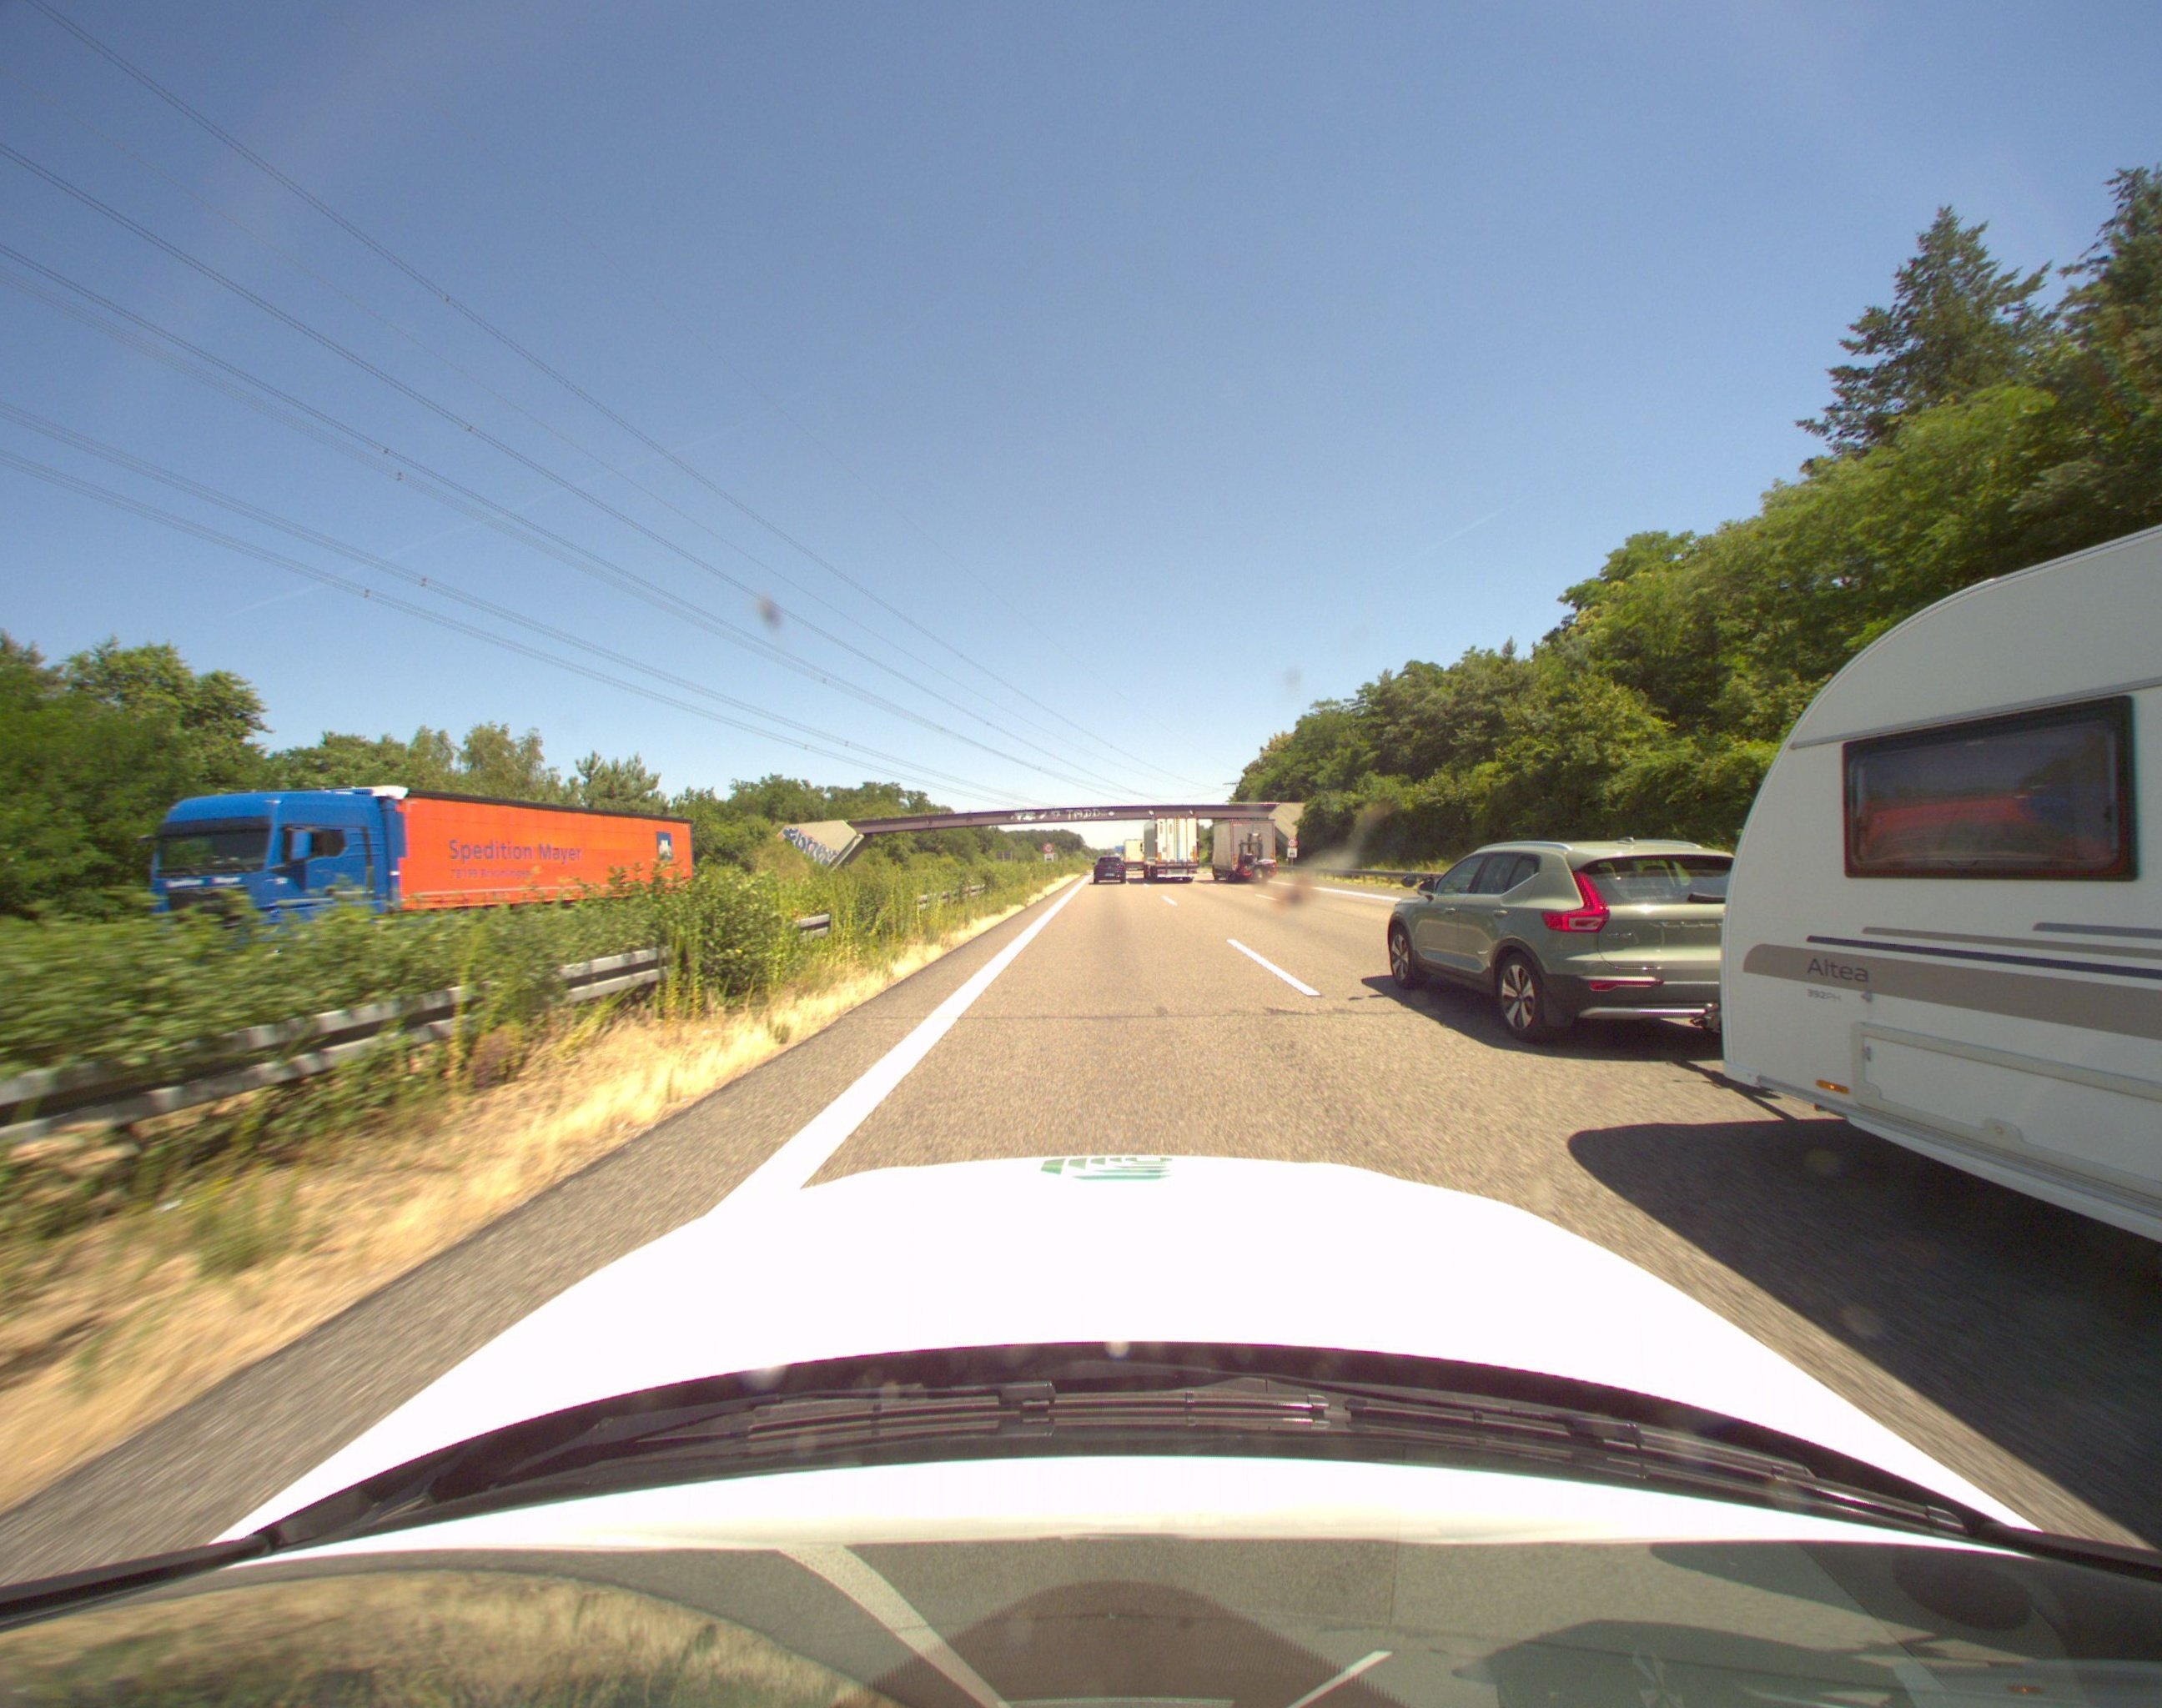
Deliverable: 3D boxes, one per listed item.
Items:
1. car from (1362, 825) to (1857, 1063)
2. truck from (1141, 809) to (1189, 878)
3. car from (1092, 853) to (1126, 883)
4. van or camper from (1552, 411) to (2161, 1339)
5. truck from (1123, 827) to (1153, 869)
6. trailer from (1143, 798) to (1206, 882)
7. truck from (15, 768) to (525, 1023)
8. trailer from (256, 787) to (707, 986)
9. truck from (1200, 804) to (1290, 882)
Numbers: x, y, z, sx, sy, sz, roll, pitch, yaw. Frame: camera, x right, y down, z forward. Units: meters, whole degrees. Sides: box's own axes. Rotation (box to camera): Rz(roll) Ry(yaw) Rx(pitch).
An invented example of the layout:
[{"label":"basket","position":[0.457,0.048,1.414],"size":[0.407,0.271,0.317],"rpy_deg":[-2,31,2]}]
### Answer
[{"label":"car","position":[4.481,0.638,8.011],"size":[1.872,1.612,4.703],"rpy_deg":[-1,0,1]},{"label":"truck","position":[6.136,-0.718,60.716],"size":[3.075,4.885,6.599],"rpy_deg":[0,-1,2]},{"label":"car","position":[1.709,0.842,50.575],"size":[1.987,1.772,4.000],"rpy_deg":[-2,0,0]},{"label":"van or camper","position":[4.330,0.065,2.292],"size":[2.430,2.675,6.350],"rpy_deg":[0,0,1]},{"label":"truck","position":[7.394,-0.731,107.533],"size":[3.499,5.166,10.261],"rpy_deg":[-1,0,2]},{"label":"trailer","position":[5.913,-0.785,53.530],"size":[3.075,4.885,12.261],"rpy_deg":[0,-1,2]},{"label":"truck","position":[-17.217,0.753,18.539],"size":[3.332,4.407,7.973],"rpy_deg":[-3,0,1]},{"label":"trailer","position":[-17.033,0.780,25.779],"size":[3.332,4.407,14.168],"rpy_deg":[-3,0,1]},{"label":"truck","position":[9.854,-0.544,50.496],"size":[3.557,4.245,11.655],"rpy_deg":[0,-1,2]}]
